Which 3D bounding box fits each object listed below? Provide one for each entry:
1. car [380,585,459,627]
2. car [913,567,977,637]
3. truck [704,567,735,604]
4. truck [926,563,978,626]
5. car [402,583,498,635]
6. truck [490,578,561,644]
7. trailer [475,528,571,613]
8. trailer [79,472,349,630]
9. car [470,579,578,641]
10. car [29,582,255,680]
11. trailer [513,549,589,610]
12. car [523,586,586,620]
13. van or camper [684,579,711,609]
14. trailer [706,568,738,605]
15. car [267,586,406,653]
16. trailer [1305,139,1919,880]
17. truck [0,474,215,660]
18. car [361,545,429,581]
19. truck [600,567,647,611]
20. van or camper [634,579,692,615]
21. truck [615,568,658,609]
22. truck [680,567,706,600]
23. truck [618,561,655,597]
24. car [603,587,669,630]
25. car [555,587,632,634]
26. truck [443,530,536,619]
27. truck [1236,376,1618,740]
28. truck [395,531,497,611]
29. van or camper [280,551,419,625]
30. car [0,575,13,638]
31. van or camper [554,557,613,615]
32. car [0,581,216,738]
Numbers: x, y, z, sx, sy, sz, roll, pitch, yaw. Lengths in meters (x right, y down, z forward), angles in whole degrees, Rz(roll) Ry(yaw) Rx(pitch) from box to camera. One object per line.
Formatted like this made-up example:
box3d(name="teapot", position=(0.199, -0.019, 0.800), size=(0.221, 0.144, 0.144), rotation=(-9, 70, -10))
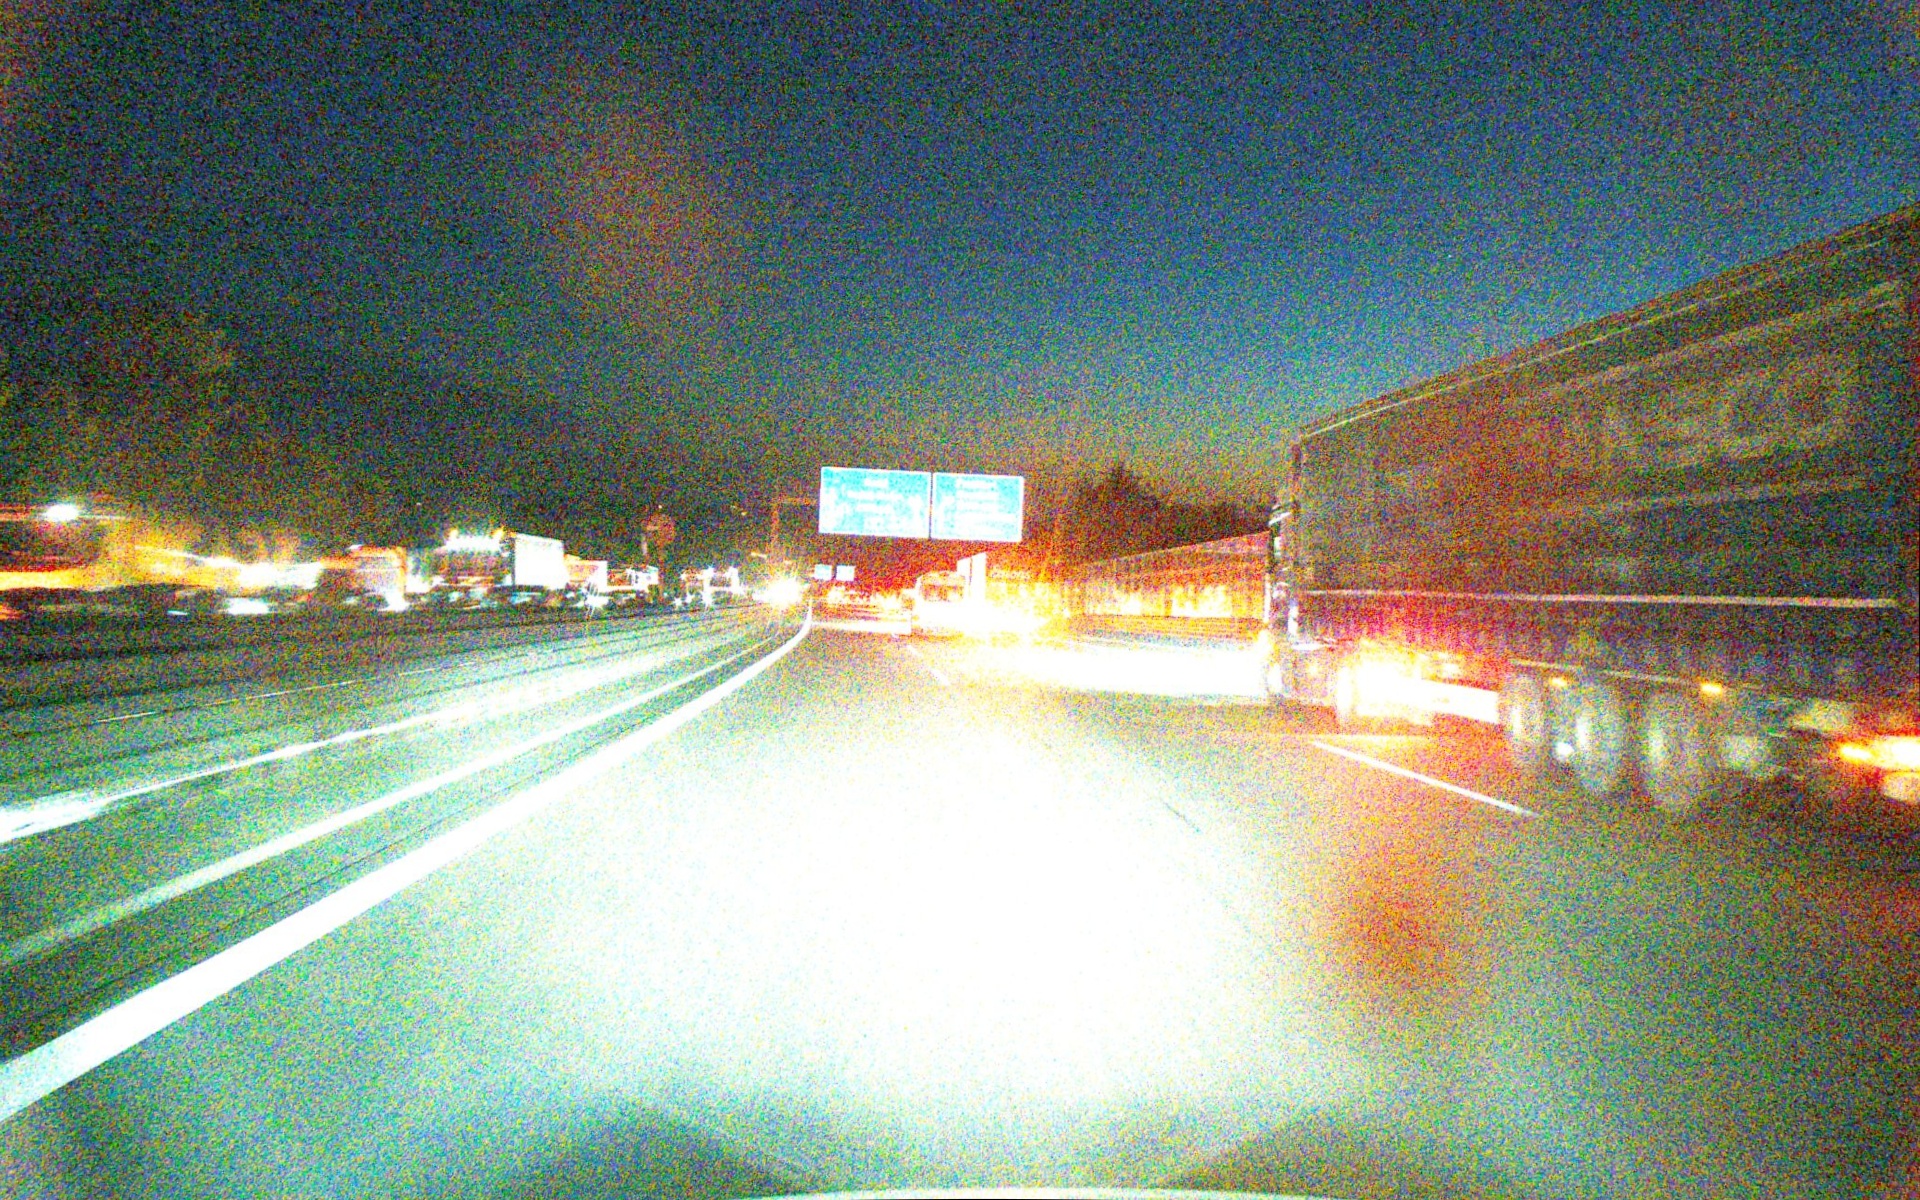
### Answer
box3d(name="car", position=(-19.176, 0.206, 58.834), size=(1.539, 1.378, 4.237), rotation=(2, 0, -2))
box3d(name="car", position=(-0.554, 0.137, 67.727), size=(2.288, 2.686, 5.248), rotation=(2, -2, 2))
box3d(name="truck", position=(-25.899, -1.534, 178.469), size=(2.819, 3.737, 6.771), rotation=(4, -1, -6))
box3d(name="truck", position=(-0.707, -0.432, 131.063), size=(3.278, 4.553, 13.902), rotation=(3, 0, -3))
box3d(name="car", position=(-14.738, 0.255, 47.998), size=(1.538, 1.378, 4.000), rotation=(2, 0, 0))
box3d(name="truck", position=(-26.050, 0.634, 99.485), size=(2.827, 3.740, 7.256), rotation=(2, 0, -5))
box3d(name="trailer", position=(-20.800, -1.281, 79.374), size=(2.347, 3.690, 11.169), rotation=(2, -1, -5))
box3d(name="trailer", position=(-17.652, -0.975, 39.974), size=(2.554, 3.231, 8.998), rotation=(4, -1, -2))
box3d(name="car", position=(-10.493, 0.235, 40.084), size=(1.538, 1.378, 4.000), rotation=(2, 0, 0))
box3d(name="car", position=(-12.697, 0.455, 25.962), size=(1.538, 1.378, 4.000), rotation=(2, 0, 0))
box3d(name="trailer", position=(-26.949, -1.278, 109.685), size=(2.826, 3.740, 13.116), rotation=(2, 0, -5))
box3d(name="car", position=(-17.407, 0.138, 71.107), size=(1.760, 1.378, 4.237), rotation=(2, 0, -2))
box3d(name="van or camper", position=(-24.927, -0.558, 157.075), size=(2.044, 2.678, 7.594), rotation=(2, 0, -6))
box3d(name="trailer", position=(-26.560, -1.466, 185.124), size=(2.830, 3.735, 12.200), rotation=(4, -1, -6))
box3d(name="car", position=(-13.880, 0.422, 37.056), size=(1.538, 1.378, 4.000), rotation=(2, 0, 0))
box3d(name="trailer", position=(6.389, -0.514, 15.607), size=(2.797, 4.138, 13.196), rotation=(0, 0, -3))
box3d(name="truck", position=(-17.437, -0.588, 32.861), size=(2.591, 3.275, 5.792), rotation=(4, -1, -2))
box3d(name="car", position=(-23.631, -1.531, 69.304), size=(1.539, 1.378, 3.998), rotation=(2, 0, -2))
box3d(name="truck", position=(-25.008, -0.802, 123.280), size=(2.506, 3.038, 7.444), rotation=(2, -1, -5))
box3d(name="van or camper", position=(-12.354, -0.132, 68.996), size=(1.784, 1.378, 5.347), rotation=(2, 0, -4))
box3d(name="truck", position=(-25.811, -0.856, 132.103), size=(2.506, 3.038, 7.444), rotation=(2, -1, -5))
box3d(name="truck", position=(-31.769, -1.983, 197.074), size=(2.821, 3.737, 6.038), rotation=(3, 0, -9))
box3d(name="truck", position=(-33.362, -2.125, 170.815), size=(2.902, 3.502, 6.354), rotation=(3, 0, -5))
box3d(name="car", position=(-11.990, 0.318, 61.439), size=(1.624, 1.497, 4.000), rotation=(2, 0, 0))
box3d(name="car", position=(-11.461, 0.324, 51.933), size=(1.538, 1.378, 3.999), rotation=(2, 0, -1))
box3d(name="truck", position=(-20.152, -1.050, 71.155), size=(2.356, 3.575, 6.718), rotation=(2, 0, -4))
box3d(name="truck", position=(5.979, -0.484, 22.652), size=(2.804, 4.148, 7.506), rotation=(0, 0, -3))
box3d(name="truck", position=(-25.721, -1.334, 83.309), size=(2.347, 3.690, 11.169), rotation=(2, -1, -5))
box3d(name="van or camper", position=(-18.637, -0.338, 50.963), size=(2.145, 2.049, 7.631), rotation=(2, 0, -6))
box3d(name="car", position=(-21.401, 0.116, 34.101), size=(1.539, 1.378, 3.998), rotation=(2, 0, -2))
box3d(name="van or camper", position=(-22.994, -0.815, 101.327), size=(2.385, 3.329, 7.386), rotation=(2, 0, -5))
box3d(name="car", position=(-9.160, 0.511, 16.624), size=(1.538, 1.378, 4.000), rotation=(2, 0, 0))
